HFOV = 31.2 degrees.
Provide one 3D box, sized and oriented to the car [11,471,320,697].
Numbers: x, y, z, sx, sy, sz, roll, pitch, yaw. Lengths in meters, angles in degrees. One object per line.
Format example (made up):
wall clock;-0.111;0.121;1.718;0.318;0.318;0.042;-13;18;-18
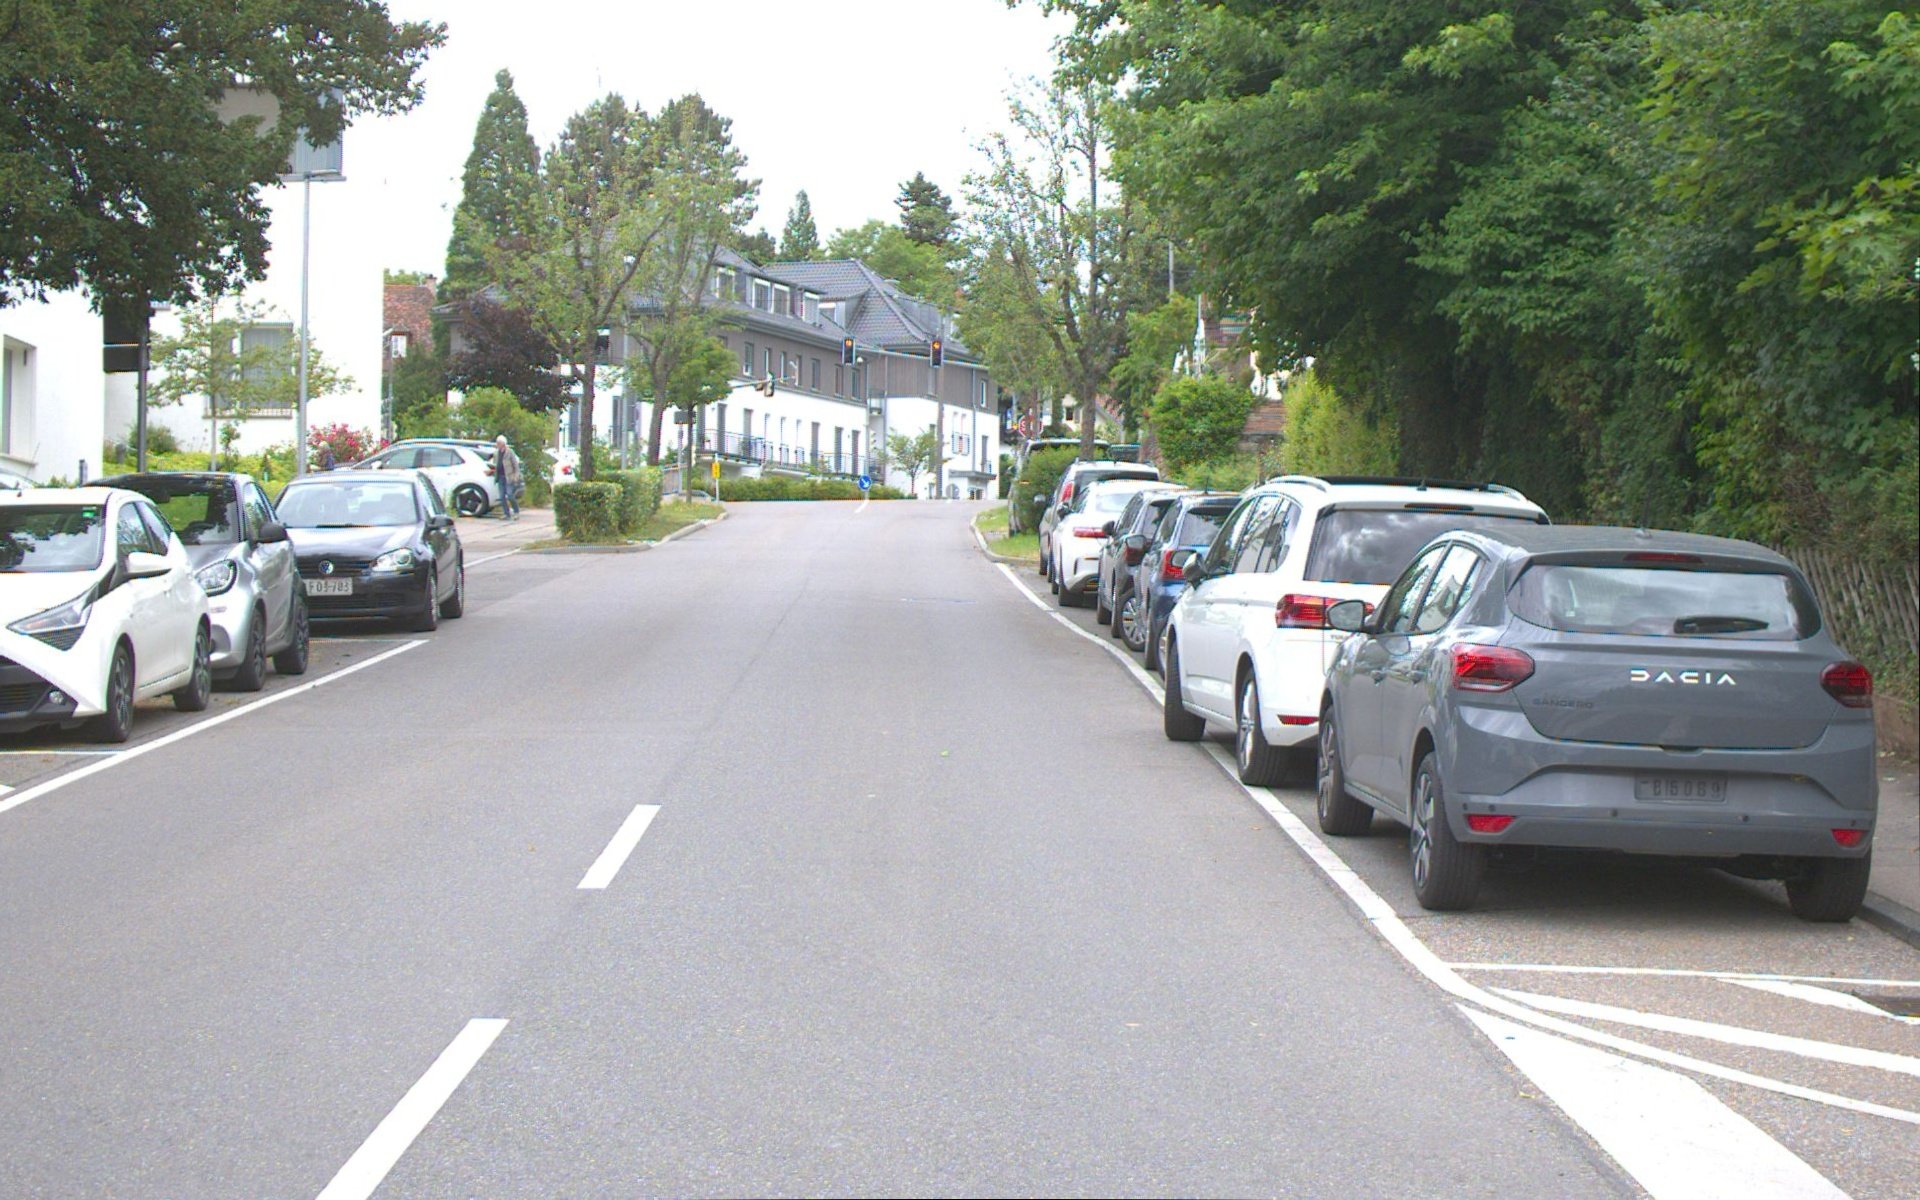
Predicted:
car;-5.653;-0.158;24.750;1.624;1.513;2.976;1;2;-2

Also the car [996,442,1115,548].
car;1.699;-1.940;62.817;1.936;1.831;5.220;1;2;-1

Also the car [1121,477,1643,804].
car;2.257;0.115;19.821;2.000;1.603;4.760;0;3;-5

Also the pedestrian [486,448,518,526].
pedestrian;-9.658;-2.381;72.475;0.593;1.634;0.565;0;2;0

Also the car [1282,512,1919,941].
car;2.650;0.407;14.887;1.937;1.486;4.457;0;3;-2

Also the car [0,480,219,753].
car;-5.637;0.032;20.552;1.744;1.443;3.514;0;3;-2

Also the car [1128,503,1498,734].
car;2.401;0.056;24.496;1.809;1.447;4.380;0;2;-5

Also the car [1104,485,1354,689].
car;2.232;-0.172;29.466;1.697;1.503;4.161;3;2;-1

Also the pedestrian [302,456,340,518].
pedestrian;-13.325;-2.359;71.737;0.607;1.278;0.900;2;2;-1

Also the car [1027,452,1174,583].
car;1.855;-1.141;46.469;1.717;1.626;3.929;2;2;-1

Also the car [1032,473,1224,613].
car;1.898;-0.721;40.232;1.993;1.486;5.005;0;3;0

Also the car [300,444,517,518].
car;-11.836;-2.568;73.969;4.386;1.561;2.067;0;2;-2

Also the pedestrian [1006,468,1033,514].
pedestrian;2.167;-3.967;125.278;0.685;1.676;0.699;2;3;38

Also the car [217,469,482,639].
car;-5.696;-0.496;32.592;1.850;1.464;4.684;0;3;-2

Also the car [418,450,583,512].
car;-12.379;-3.206;92.795;4.259;1.617;2.014;0;1;-3

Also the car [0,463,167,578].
car;-11.681;-0.991;41.801;3.793;1.349;1.742;0;2;-6

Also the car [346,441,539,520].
car;-11.505;-2.668;76.611;3.987;1.648;2.009;1;2;0
